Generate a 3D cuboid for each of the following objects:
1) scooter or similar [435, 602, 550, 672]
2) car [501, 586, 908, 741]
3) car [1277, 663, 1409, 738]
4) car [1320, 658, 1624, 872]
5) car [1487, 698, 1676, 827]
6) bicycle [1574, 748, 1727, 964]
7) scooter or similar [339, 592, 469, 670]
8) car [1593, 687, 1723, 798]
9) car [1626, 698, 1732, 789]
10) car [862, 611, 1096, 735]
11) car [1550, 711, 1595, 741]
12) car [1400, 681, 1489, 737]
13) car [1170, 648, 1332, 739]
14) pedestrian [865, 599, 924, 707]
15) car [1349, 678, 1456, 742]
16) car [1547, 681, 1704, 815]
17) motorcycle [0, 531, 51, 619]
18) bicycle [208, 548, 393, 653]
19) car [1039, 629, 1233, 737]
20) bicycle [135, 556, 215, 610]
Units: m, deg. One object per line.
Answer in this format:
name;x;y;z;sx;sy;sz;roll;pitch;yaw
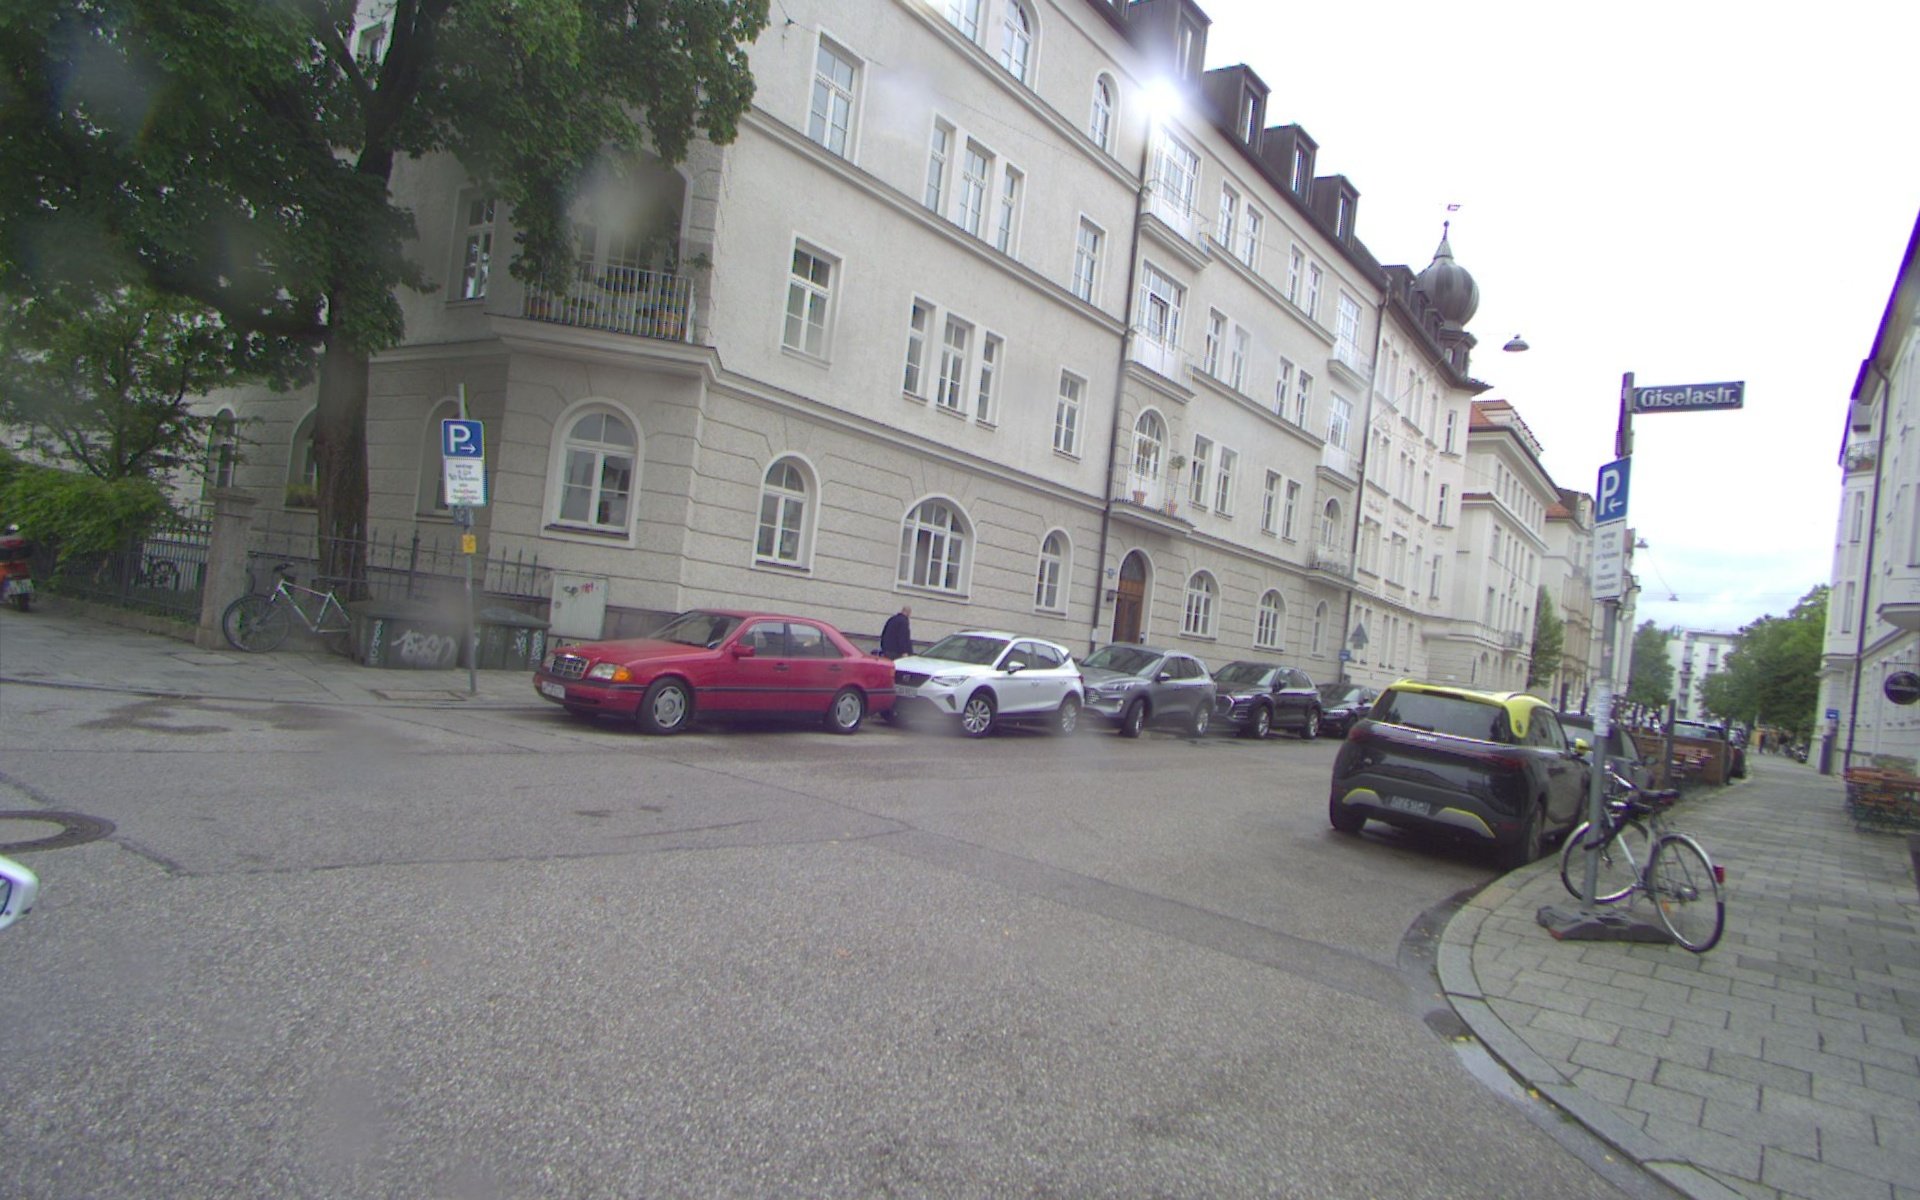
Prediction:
scooter or similar;-6.602;0.527;14.226;0.687;0.835;1.237;5;-2;40
car;-2.789;0.806;11.947;1.734;1.374;4.466;6;-1;38
car;10.572;2.782;27.598;1.863;1.683;4.273;6;-2;41
car;5.564;1.640;10.649;1.879;1.616;4.072;5;-3;40
car;9.210;2.337;14.802;1.678;1.442;3.525;5;-3;42
bicycle;4.588;1.618;6.737;0.727;1.082;1.602;2;-2;33
scooter or similar;-7.288;0.414;13.203;0.911;0.858;1.182;5;-2;40
car;14.918;3.006;21.423;1.707;1.957;3.644;5;-2;42
car;17.678;3.493;24.662;1.718;1.833;3.985;5;-2;40
car;0.423;1.171;15.443;1.542;1.539;3.888;6;-2;36
car;37.315;7.655;61.232;1.969;1.527;3.990;5;-2;36
car;17.331;3.912;35.886;1.806;1.690;4.042;5;-2;40
car;6.710;2.165;22.917;1.863;1.683;4.275;6;-2;40
pedestrian;-1.195;0.974;18.471;0.729;1.898;0.495;6;-1;26
car;14.124;3.531;31.981;1.863;1.683;4.276;5;-3;40
car;12.289;2.667;18.472;1.750;1.992;3.915;5;-2;42
motorcycle;-13.032;-0.368;13.834;1.381;1.103;0.362;6;-1;34
bicycle;-8.476;0.033;12.993;0.554;1.137;1.836;6;-1;40
car;3.506;1.631;19.382;1.727;1.731;4.327;4;-3;38
bicycle;-14.764;-0.329;18.903;2.238;0.821;0.492;5;-2;35
